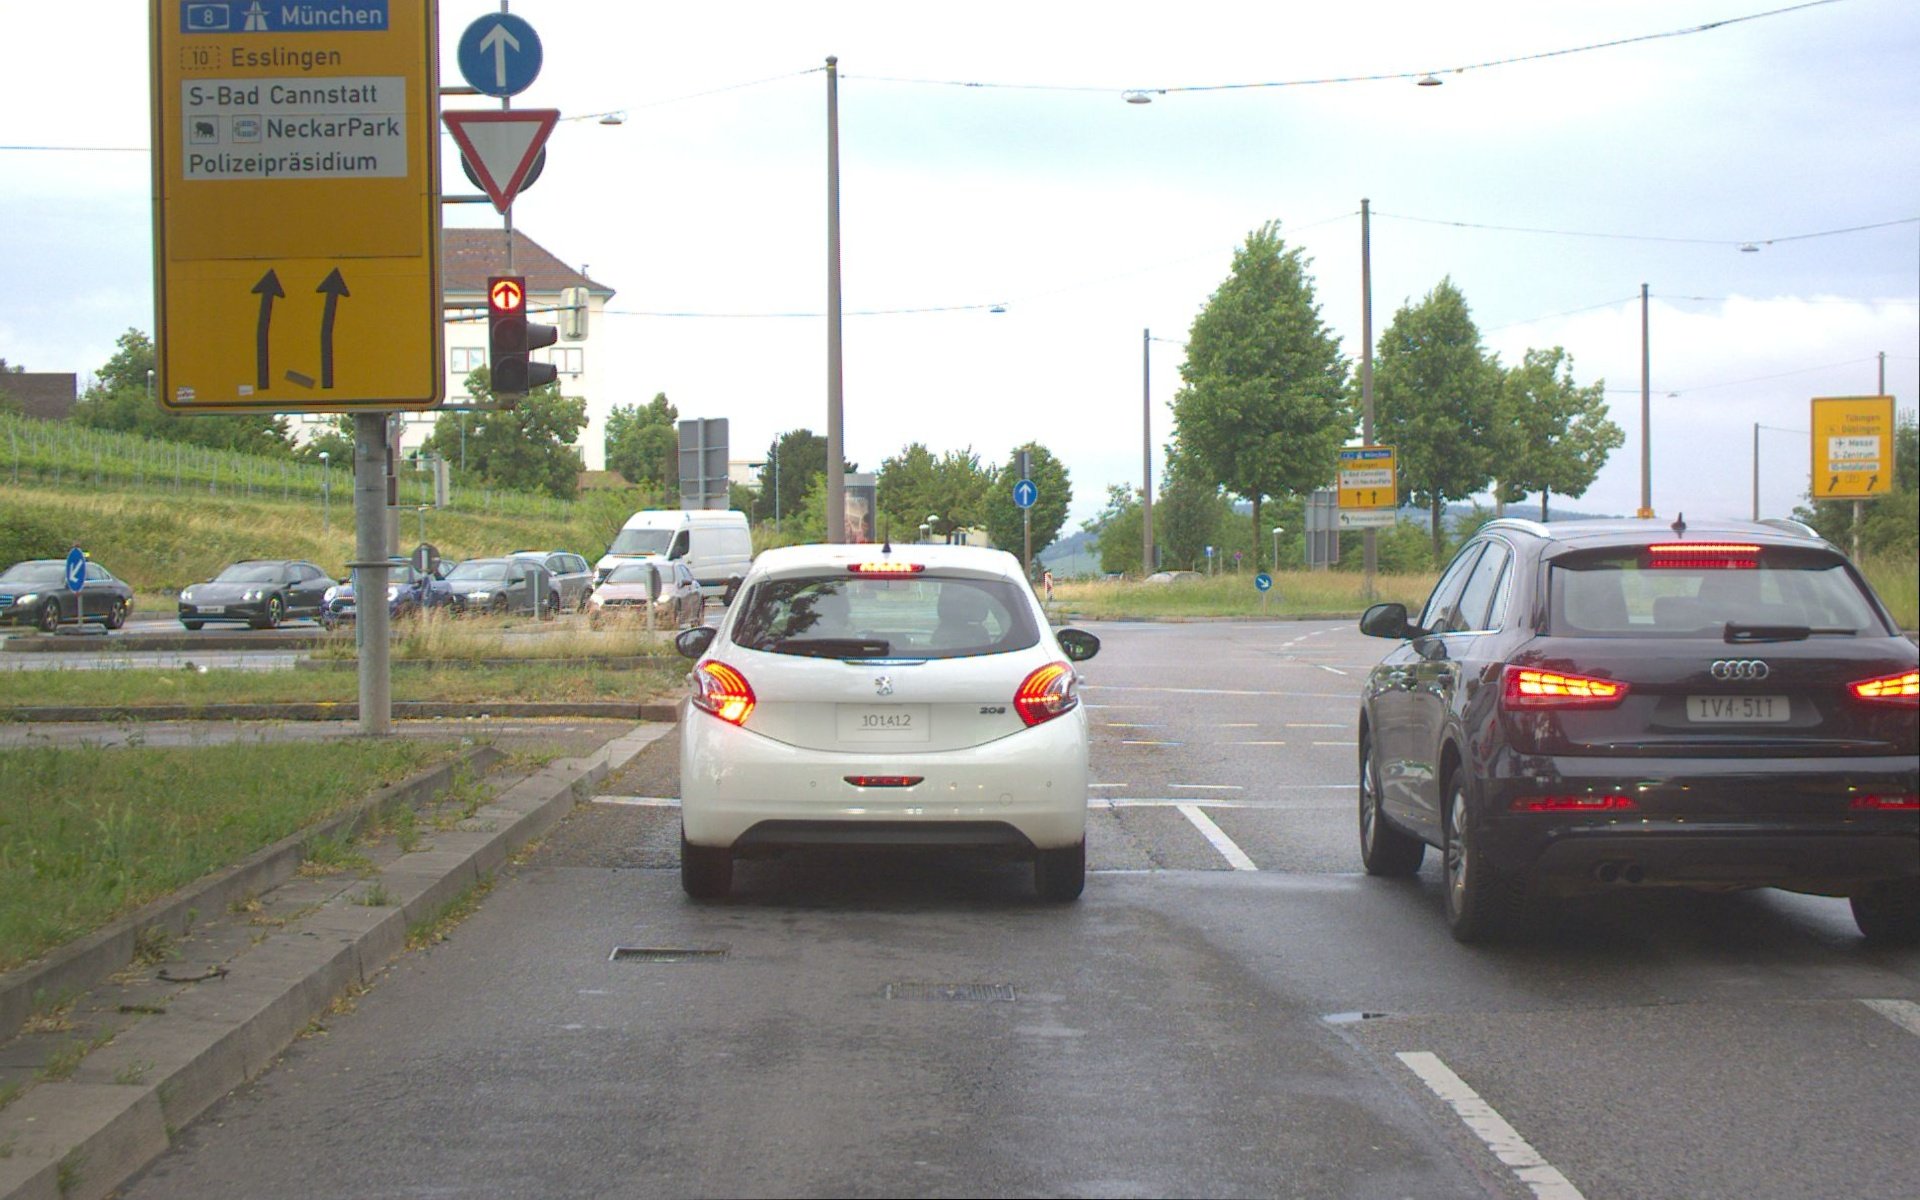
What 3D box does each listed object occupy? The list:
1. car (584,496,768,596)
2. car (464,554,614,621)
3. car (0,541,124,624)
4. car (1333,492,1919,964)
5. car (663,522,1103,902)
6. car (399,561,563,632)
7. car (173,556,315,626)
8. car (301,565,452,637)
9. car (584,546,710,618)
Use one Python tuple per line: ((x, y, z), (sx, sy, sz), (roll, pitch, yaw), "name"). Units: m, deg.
((-7.642, -1.435, 93.339), (1.996, 2.550, 6.160), (2, 0, 27), "car")
((-10.504, -0.320, 86.079), (1.995, 1.570, 4.191), (0, 2, 21), "car")
((-18.695, -0.364, 69.935), (1.830, 1.618, 4.565), (1, 0, 6), "car")
((2.707, 0.429, 13.937), (1.884, 1.590, 4.113), (1, 0, 0), "car")
((-0.320, 0.421, 15.519), (1.718, 1.484, 4.000), (0, 0, 0), "car")
((-10.478, -0.085, 75.581), (1.902, 1.484, 4.889), (1, 0, 14), "car")
((-14.872, -0.177, 71.610), (1.787, 1.391, 3.881), (1, 0, 6), "car")
((-11.804, 0.039, 69.724), (1.787, 1.391, 3.880), (1, 0, 10), "car")
((-6.366, -0.368, 70.383), (1.776, 1.420, 4.373), (-1, 0, 5), "car")
